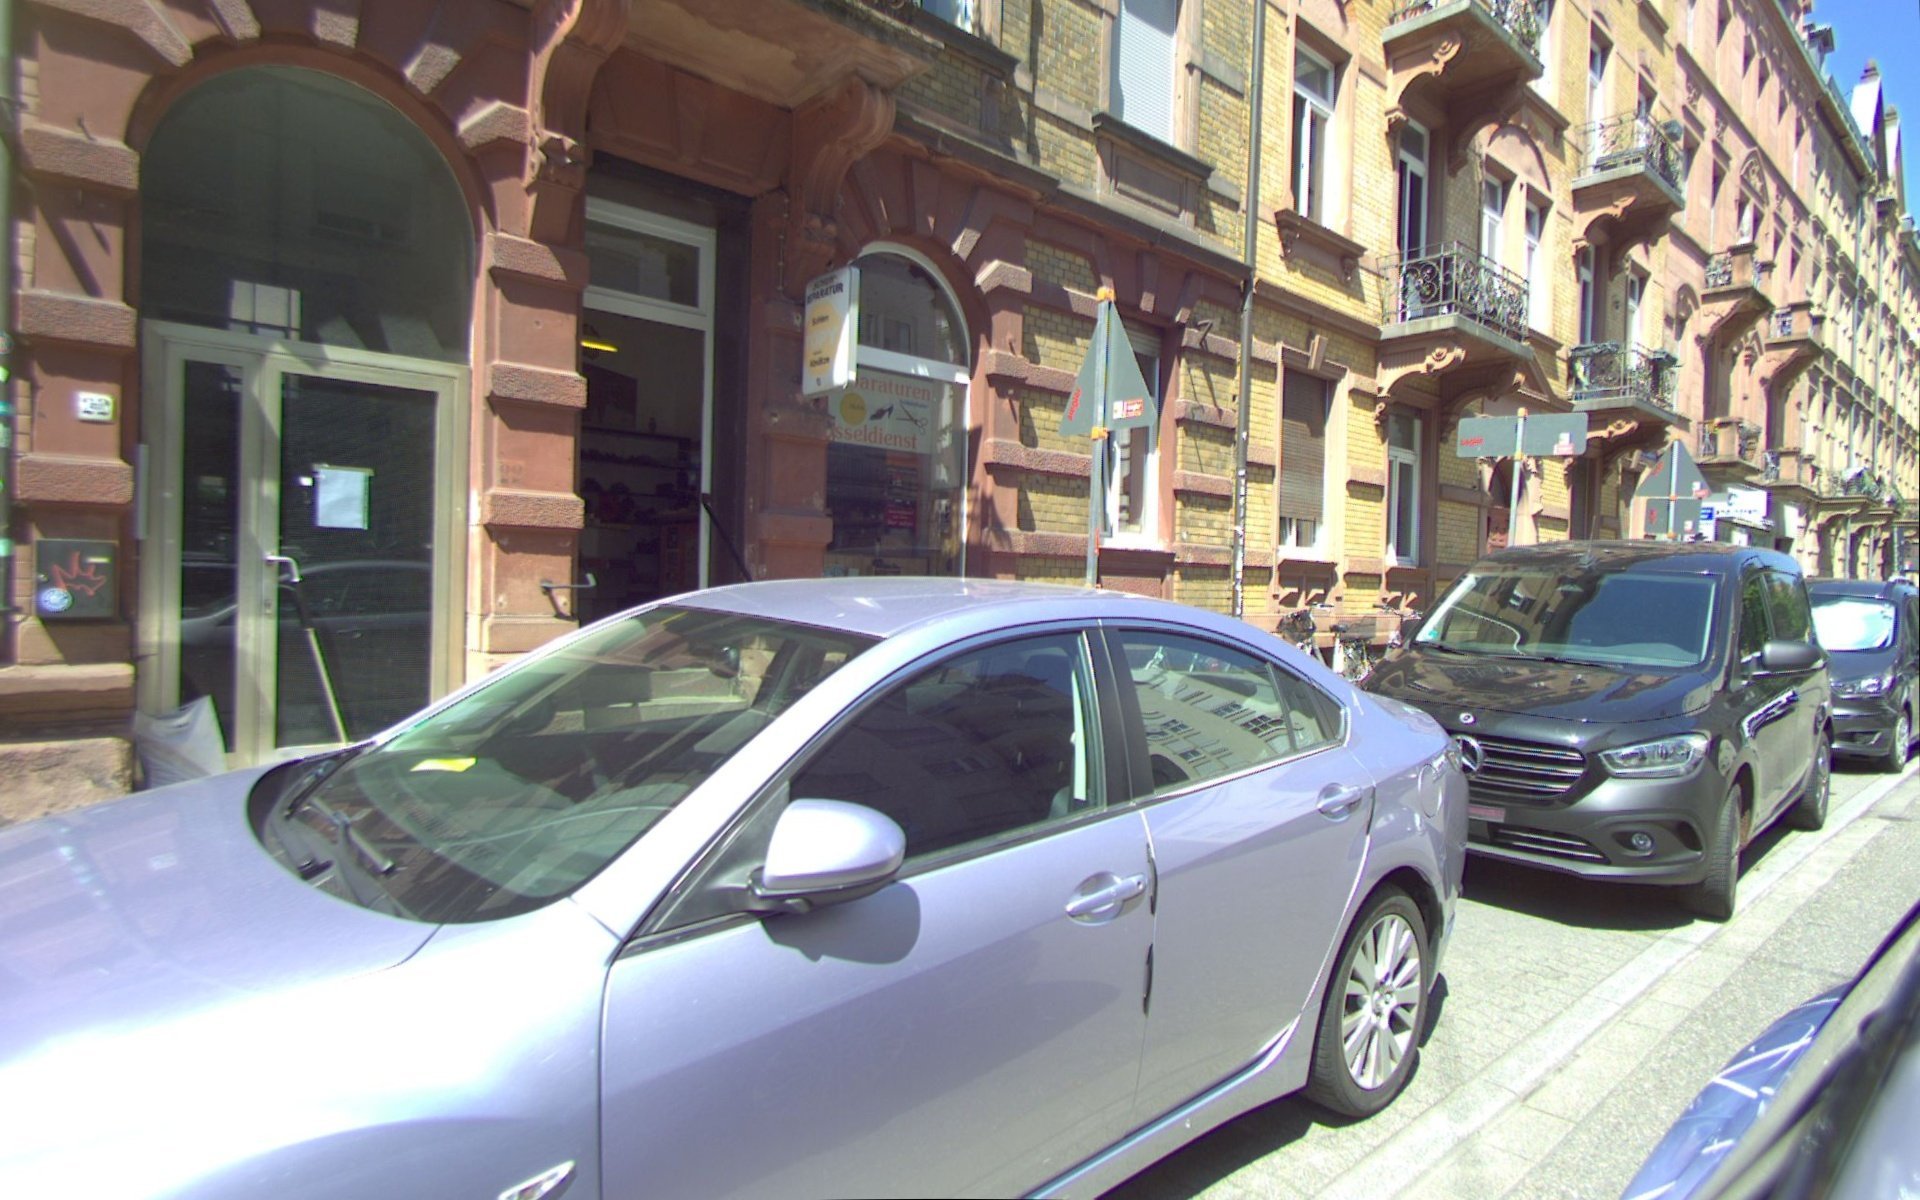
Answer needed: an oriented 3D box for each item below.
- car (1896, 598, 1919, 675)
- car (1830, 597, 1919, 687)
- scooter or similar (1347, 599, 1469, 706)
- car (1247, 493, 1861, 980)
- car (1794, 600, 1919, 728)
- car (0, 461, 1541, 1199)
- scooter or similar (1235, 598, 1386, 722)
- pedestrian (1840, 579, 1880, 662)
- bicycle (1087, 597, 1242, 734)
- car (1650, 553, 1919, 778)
[{"bbox_3d":[20.159,0.709,20.453,3.628,1.480,1.600,0,1,-44],"label":"car"},{"bbox_3d":[17.152,0.696,18.245,3.933,1.479,1.827,0,1,-43],"label":"car"},{"bbox_3d":[5.343,0.580,12.009,2.075,1.167,0.477,1,1,-41],"label":"scooter or similar"},{"bbox_3d":[3.645,0.459,5.828,4.264,1.788,1.827,0,3,-43],"label":"car"},{"bbox_3d":[12.321,0.751,13.364,1.761,1.468,3.844,1,1,43],"label":"car"},{"bbox_3d":[-0.258,0.563,2.580,4.409,1.450,1.728,0,3,-43],"label":"car"},{"bbox_3d":[3.688,0.579,10.541,2.111,1.167,0.477,1,1,-41],"label":"scooter or similar"},{"bbox_3d":[21.305,0.474,23.962,0.363,1.938,0.634,1,1,-40],"label":"pedestrian"},{"bbox_3d":[1.852,0.541,9.000,1.725,1.117,0.354,1,1,-41],"label":"bicycle"},{"bbox_3d":[8.312,0.495,9.830,3.930,1.755,1.705,0,1,-41],"label":"car"}]
